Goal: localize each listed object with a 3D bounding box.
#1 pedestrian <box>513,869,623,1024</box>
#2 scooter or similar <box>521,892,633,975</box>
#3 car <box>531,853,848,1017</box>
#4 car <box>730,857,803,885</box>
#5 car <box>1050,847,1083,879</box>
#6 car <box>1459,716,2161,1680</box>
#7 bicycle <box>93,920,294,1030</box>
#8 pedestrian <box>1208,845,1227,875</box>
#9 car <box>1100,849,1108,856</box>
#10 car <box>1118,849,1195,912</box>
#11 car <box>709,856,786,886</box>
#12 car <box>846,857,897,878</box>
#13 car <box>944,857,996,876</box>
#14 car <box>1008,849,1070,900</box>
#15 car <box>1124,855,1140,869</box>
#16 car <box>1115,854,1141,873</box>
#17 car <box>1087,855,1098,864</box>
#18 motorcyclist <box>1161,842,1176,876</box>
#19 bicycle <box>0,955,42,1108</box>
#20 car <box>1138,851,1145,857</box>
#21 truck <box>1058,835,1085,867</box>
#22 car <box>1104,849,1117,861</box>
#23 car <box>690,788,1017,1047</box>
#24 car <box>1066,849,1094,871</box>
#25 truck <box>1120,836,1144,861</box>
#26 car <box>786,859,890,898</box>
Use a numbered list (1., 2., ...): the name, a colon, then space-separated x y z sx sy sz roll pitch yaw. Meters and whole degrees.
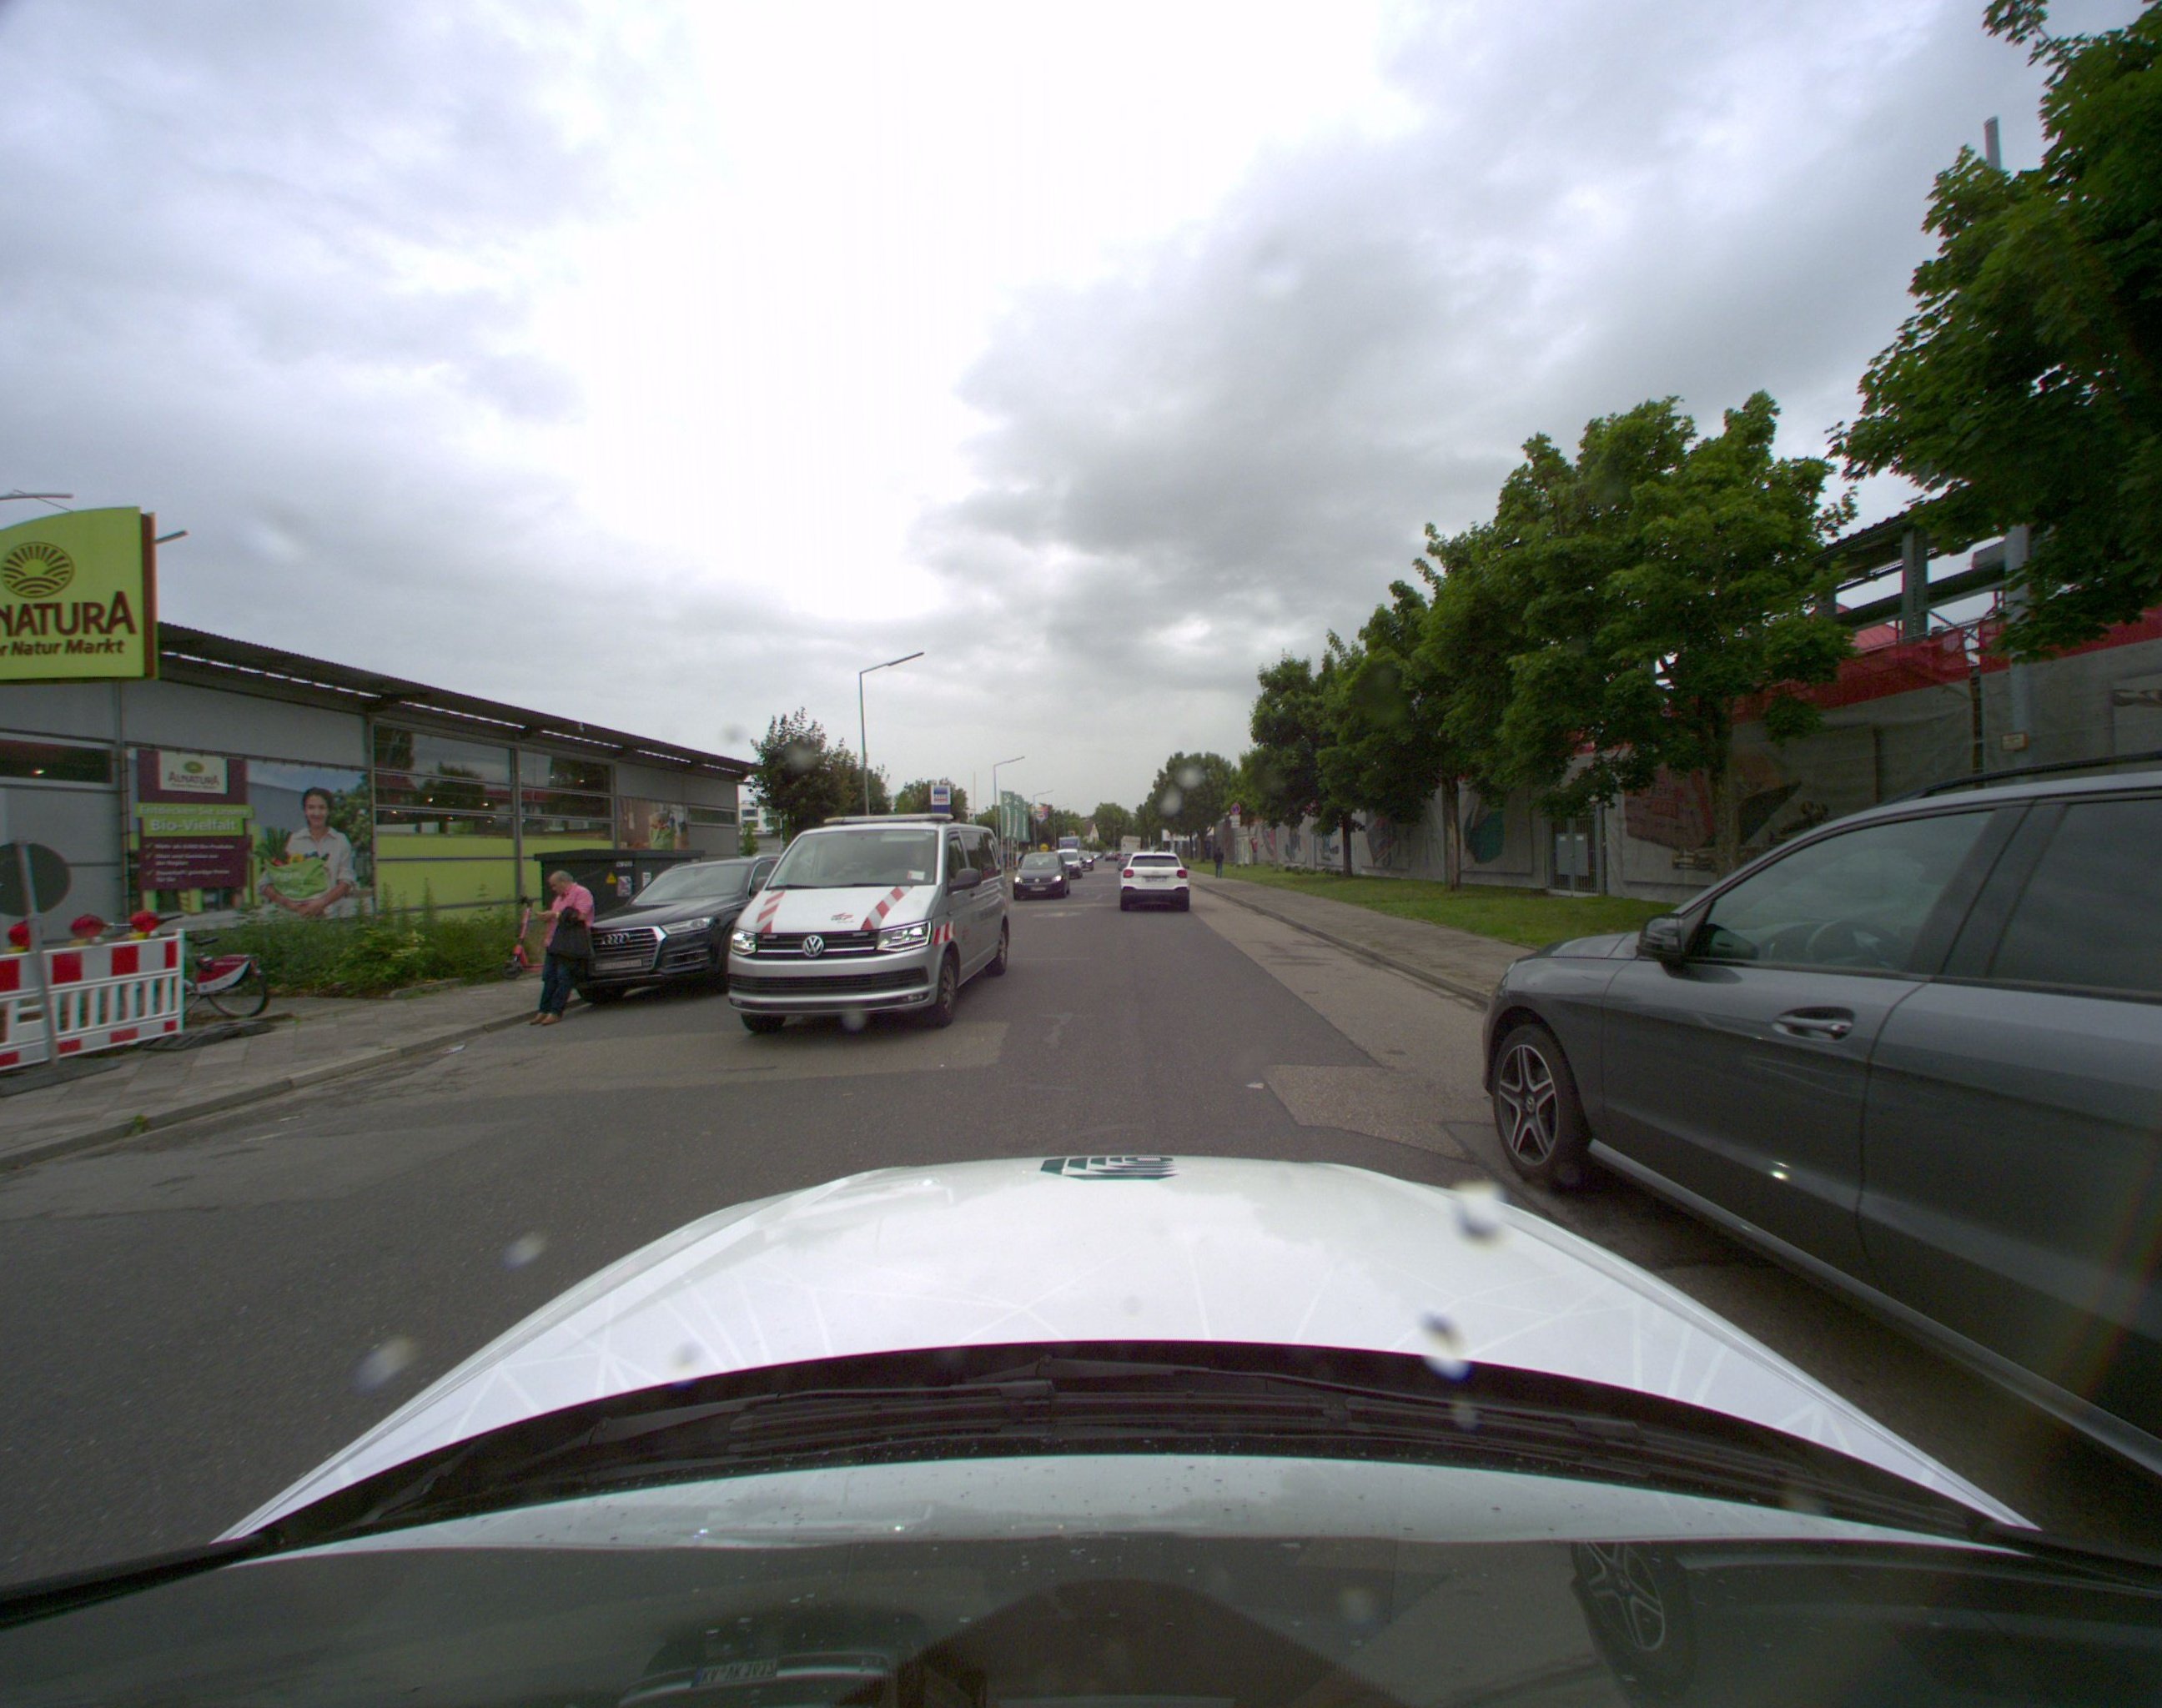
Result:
1. pedestrian: -5.774 1.013 9.200 0.670 1.621 0.654 -6 0 2
2. scooter or similar: -8.124 1.247 13.209 0.659 1.157 1.644 -2 0 4
3. car: -5.099 0.913 11.559 1.858 1.691 4.733 -5 0 3
4. car: -20.706 1.078 53.730 3.971 1.669 1.877 -2 0 2
5. car: -0.823 0.527 48.955 1.683 1.761 4.136 -3 0 2
6. car: 2.958 0.635 2.262 1.901 1.741 4.483 1 0 3
7. bicycle: -9.432 1.274 8.680 1.654 1.046 0.392 2 0 0
8. pedestrian: 7.368 0.325 44.018 0.915 1.635 0.853 0 -1 4
9. car: 5.426 -0.323 192.471 1.771 1.655 3.743 0 0 -4
10. car: 1.977 0.637 22.174 1.879 1.531 4.257 0 0 3
11. car: -20.823 1.061 51.014 3.971 1.669 1.877 -2 0 2
12. car: -18.491 1.170 72.005 3.971 1.669 1.877 -2 0 2
13. car: -9.292 1.033 68.328 4.126 1.463 1.896 -2 0 -4
14. car: -1.383 0.661 28.329 1.722 1.571 3.949 -3 0 2
15. car: 6.984 1.108 111.545 1.986 1.806 4.000 0 0 1
16. car: 3.705 0.706 64.764 1.930 1.367 4.002 -2 0 2
17. car: 1.994 0.946 137.573 1.592 1.528 3.530 -3 0 3
18. motorcyclist: 4.039 0.235 37.633 0.622 1.554 0.605 -2 0 4
19. bicycle: -8.209 1.298 5.208 0.541 1.077 1.905 -1 -1 8
20. car: 15.971 -0.023 215.498 1.879 1.683 4.257 0 0 3
21. truck: -1.203 -0.400 107.206 2.961 3.955 6.409 -3 0 3
22. car: 4.713 0.153 129.008 1.863 1.662 4.000 -2 0 0
23. car: -2.027 0.530 8.985 1.919 2.014 4.959 -2 -1 3
24. car: -0.047 0.488 67.160 1.924 1.684 4.500 -3 0 4
25. truck: 7.449 -0.790 120.939 3.124 3.585 10.051 0 0 1
26. car: -10.370 1.020 34.944 3.858 1.620 1.929 0 0 2
